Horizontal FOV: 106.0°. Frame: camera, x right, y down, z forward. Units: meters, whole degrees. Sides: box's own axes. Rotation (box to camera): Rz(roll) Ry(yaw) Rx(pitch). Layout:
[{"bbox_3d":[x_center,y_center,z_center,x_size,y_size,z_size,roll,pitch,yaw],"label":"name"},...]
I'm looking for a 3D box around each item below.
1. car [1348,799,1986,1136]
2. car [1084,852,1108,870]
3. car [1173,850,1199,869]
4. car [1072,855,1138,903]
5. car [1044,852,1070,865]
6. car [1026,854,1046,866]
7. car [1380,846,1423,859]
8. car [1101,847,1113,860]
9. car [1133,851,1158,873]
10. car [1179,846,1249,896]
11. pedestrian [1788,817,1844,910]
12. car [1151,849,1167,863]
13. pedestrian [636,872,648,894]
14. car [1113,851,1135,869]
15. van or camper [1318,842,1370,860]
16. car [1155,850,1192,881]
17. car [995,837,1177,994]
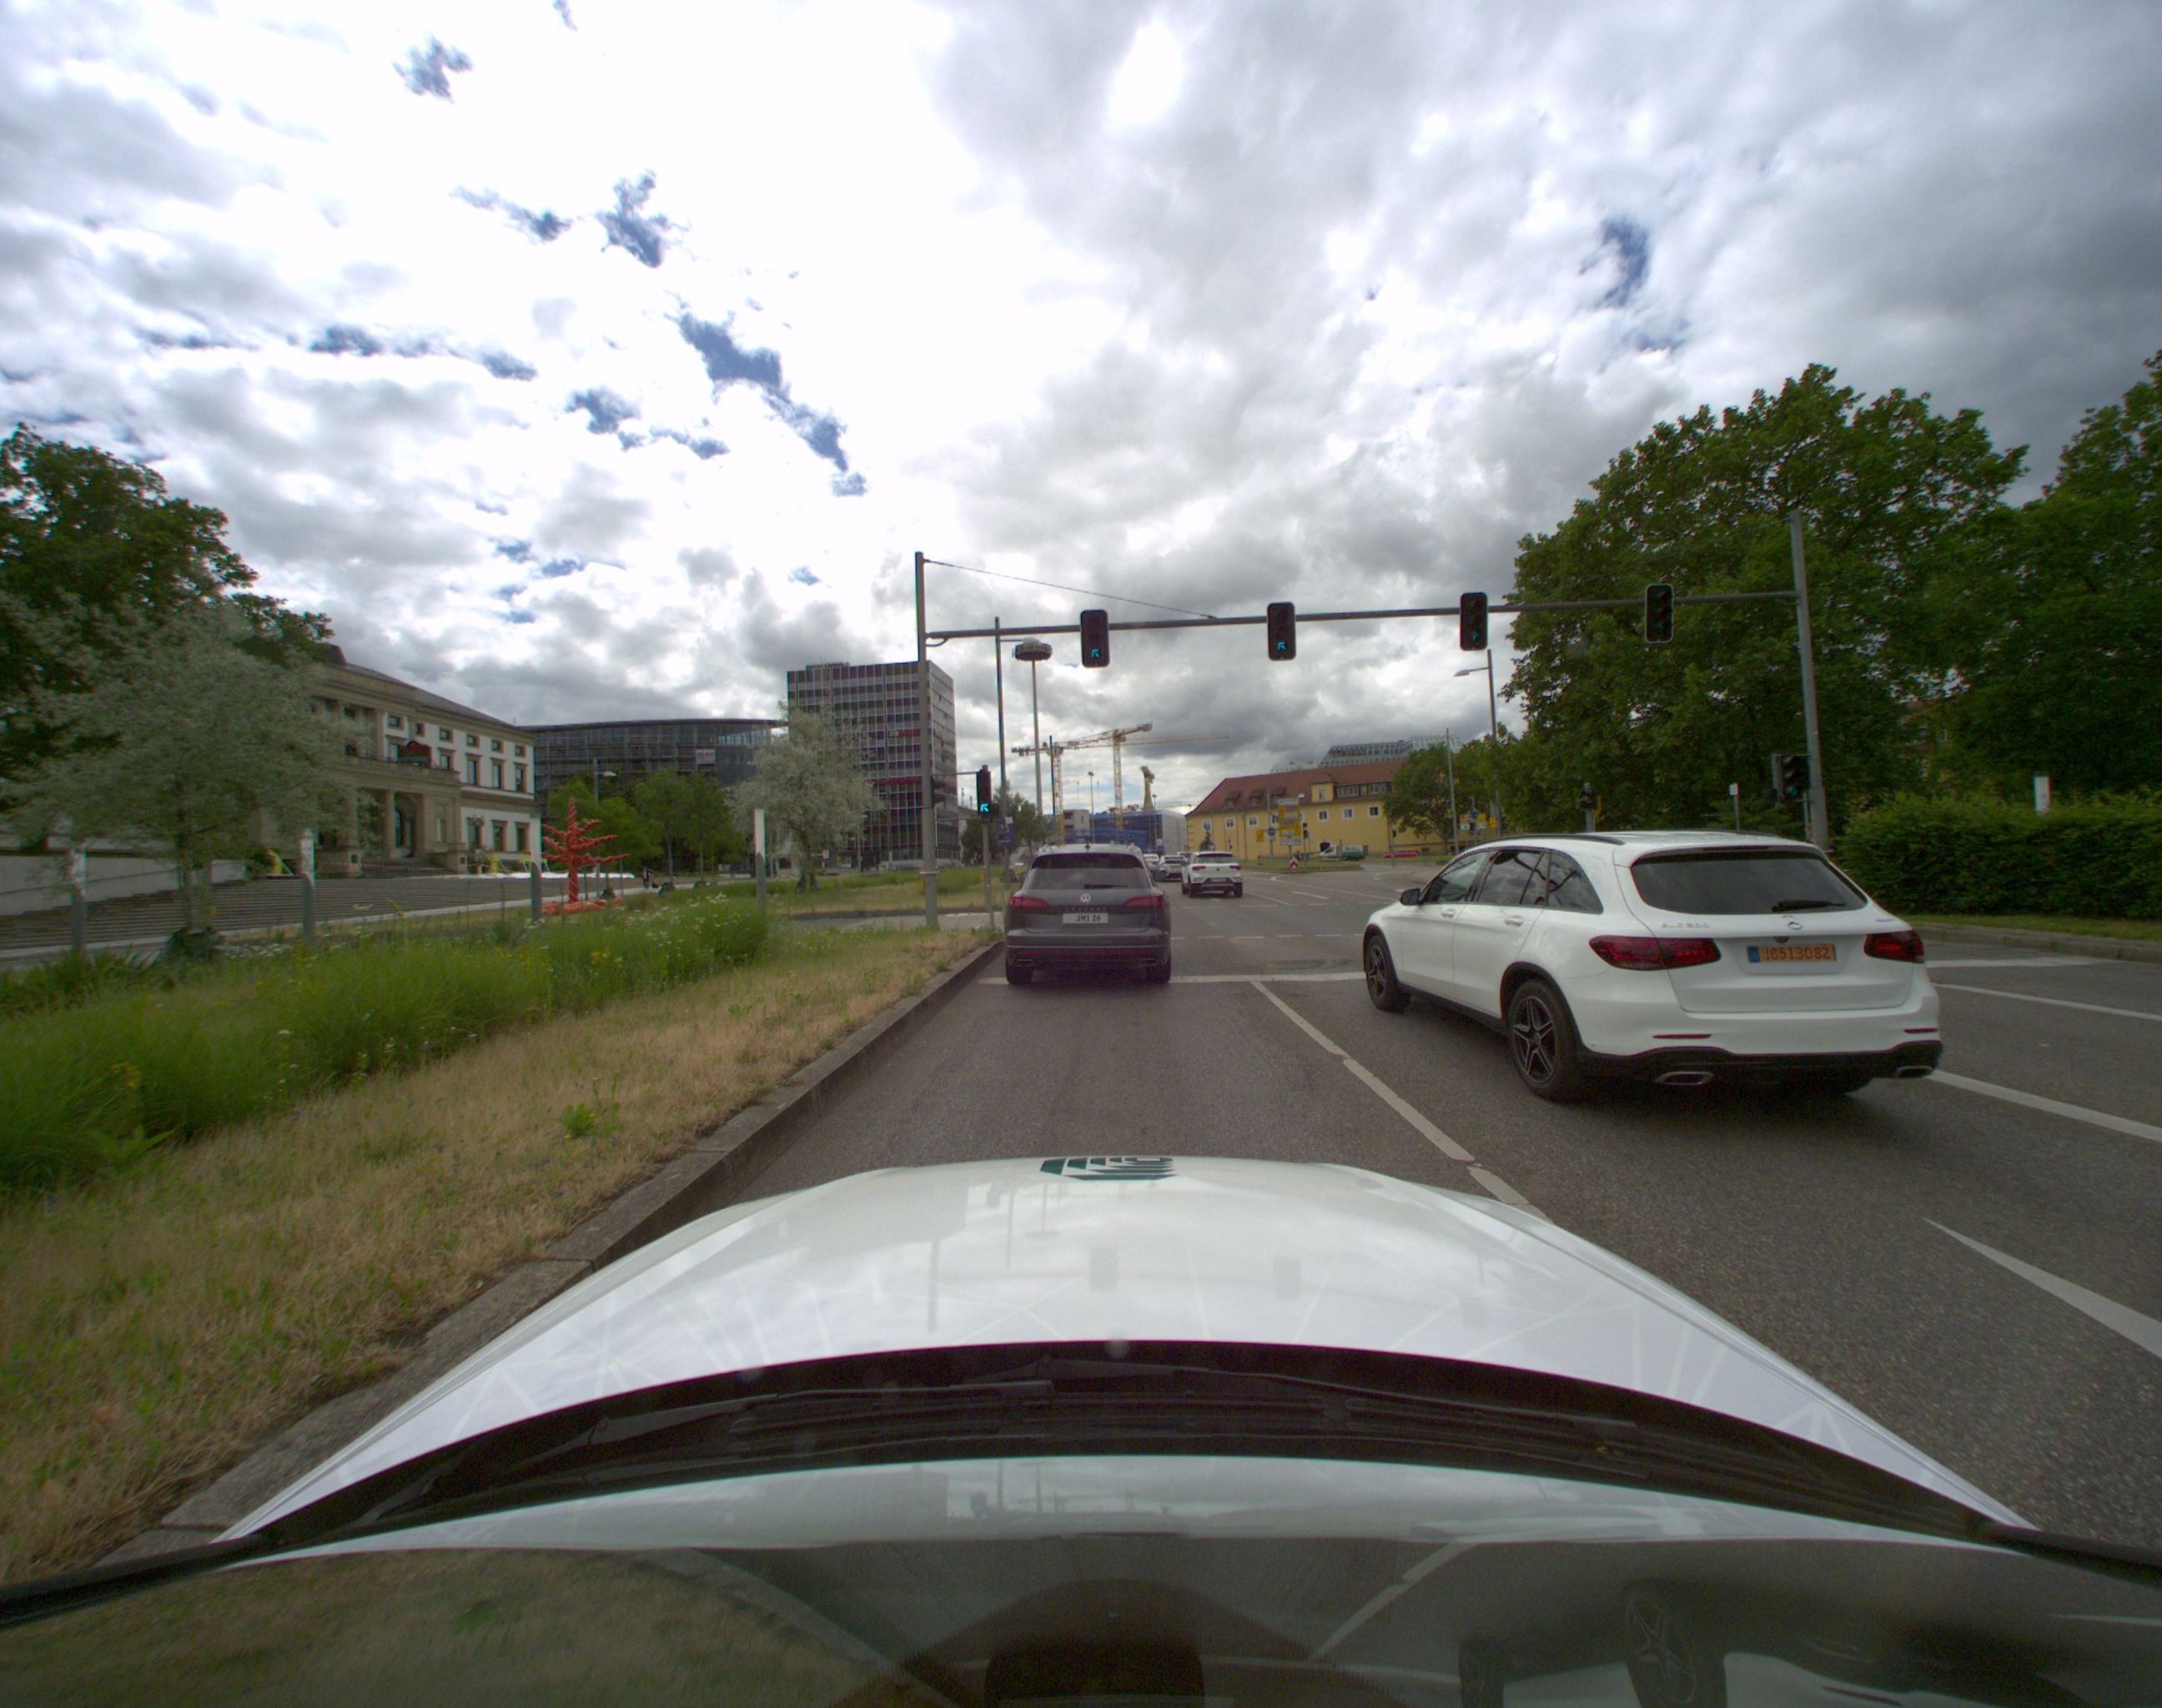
[{"bbox_3d":[3.671,0.561,6.291,1.812,1.647,4.380,-2,0,1],"label":"car"},{"bbox_3d":[1.335,0.593,73.307,1.811,1.496,3.900,-2,0,-5],"label":"car"},{"bbox_3d":[8.861,0.461,68.981,1.795,1.502,3.984,-2,0,3],"label":"car"},{"bbox_3d":[0.810,0.782,27.229,1.986,1.387,4.002,-2,0,2],"label":"car"},{"bbox_3d":[-2.913,0.556,98.404,2.248,1.502,4.590,-2,0,-14],"label":"car"},{"bbox_3d":[-6.067,0.830,109.173,1.724,1.502,3.955,-1,0,-19],"label":"car"},{"bbox_3d":[38.964,-0.166,99.074,4.632,1.420,1.607,-2,-1,33],"label":"car"},{"bbox_3d":[4.329,-0.091,135.849,1.986,2.013,4.002,-2,0,2],"label":"car"},{"bbox_3d":[4.740,0.590,59.693,1.710,1.502,3.987,-2,0,5],"label":"car"},{"bbox_3d":[4.565,0.558,28.467,1.886,1.585,3.803,-2,0,2],"label":"car"},{"bbox_3d":[14.254,0.180,15.801,0.477,1.764,0.620,-2,-1,-1],"label":"pedestrian"},{"bbox_3d":[9.011,0.211,94.306,1.712,1.502,3.984,-2,0,3],"label":"car"},{"bbox_3d":[-34.367,2.279,63.767,0.522,1.649,0.650,-1,-1,0],"label":"pedestrian"},{"bbox_3d":[4.155,0.538,78.874,1.809,1.496,3.905,-5,1,0],"label":"car"},{"bbox_3d":[33.272,-0.368,103.171,5.946,2.014,2.032,-2,-1,37],"label":"van or camper"},{"bbox_3d":[4.950,0.588,44.114,1.712,1.502,4.147,-2,0,3],"label":"car"},{"bbox_3d":[0.118,0.657,10.789,1.925,1.647,4.002,-2,0,2],"label":"car"}]
